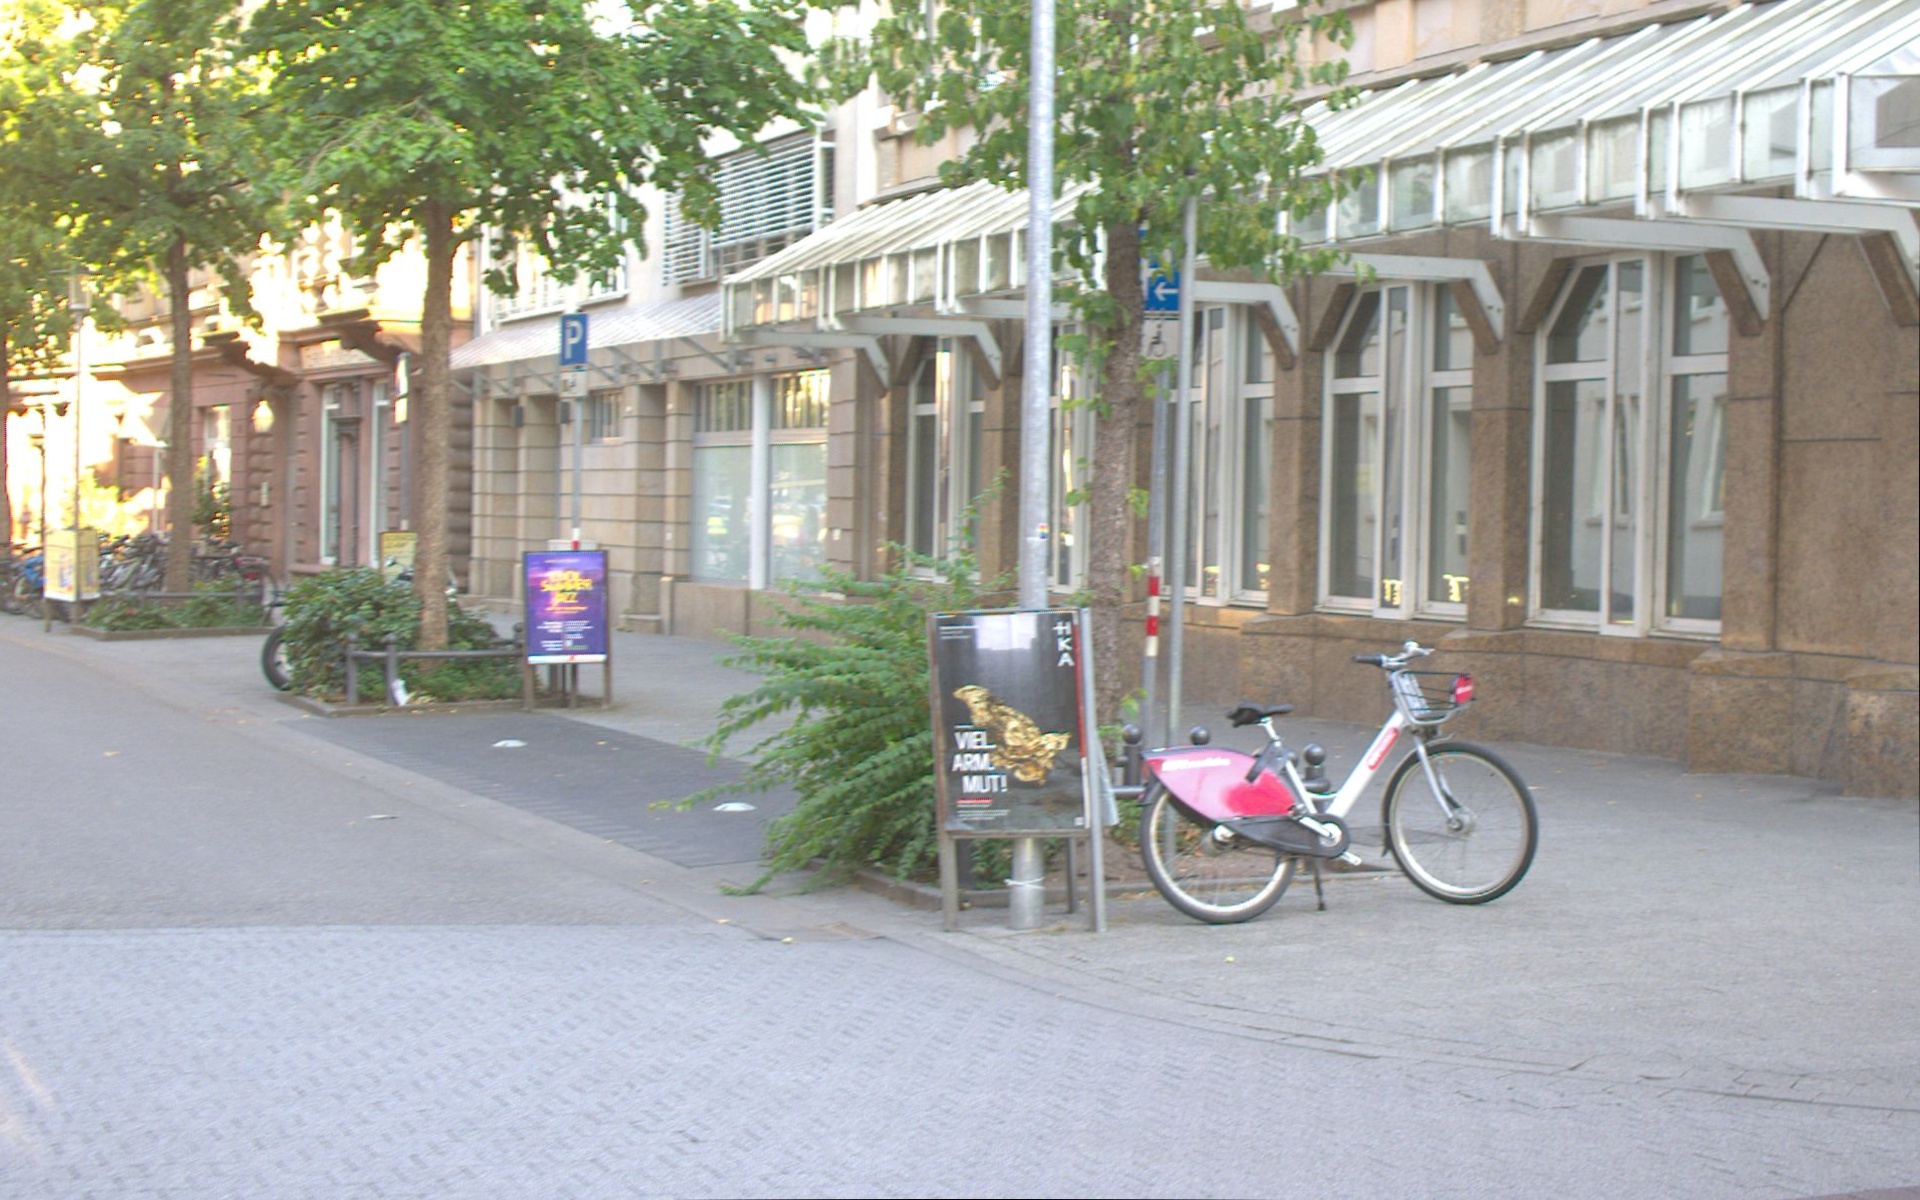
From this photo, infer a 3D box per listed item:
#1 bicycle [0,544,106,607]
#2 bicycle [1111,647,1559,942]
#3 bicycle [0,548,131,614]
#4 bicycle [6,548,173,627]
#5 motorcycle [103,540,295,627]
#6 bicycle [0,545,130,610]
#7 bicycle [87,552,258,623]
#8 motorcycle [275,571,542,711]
[{"bbox_3d":[-13.757,-0.361,50.747,2.153,0.922,0.591,0,1,-29],"label":"bicycle"},{"bbox_3d":[1.471,0.757,13.633,1.655,1.047,0.663,-2,3,-4],"label":"bicycle"},{"bbox_3d":[-12.980,-0.273,49.031,2.153,0.922,0.591,0,1,-29],"label":"bicycle"},{"bbox_3d":[-11.874,-0.175,46.922,2.152,1.057,0.591,0,1,-8],"label":"bicycle"},{"bbox_3d":[-9.817,-0.212,44.418,2.472,1.091,0.590,0,1,-44],"label":"motorcycle"},{"bbox_3d":[-13.224,-0.327,49.978,2.153,0.922,0.591,0,1,-29],"label":"bicycle"},{"bbox_3d":[-10.397,-0.163,45.435,2.153,0.922,0.590,0,1,-37],"label":"bicycle"},{"bbox_3d":[-4.613,0.337,28.823,2.152,1.147,0.494,0,1,-24],"label":"motorcycle"}]
